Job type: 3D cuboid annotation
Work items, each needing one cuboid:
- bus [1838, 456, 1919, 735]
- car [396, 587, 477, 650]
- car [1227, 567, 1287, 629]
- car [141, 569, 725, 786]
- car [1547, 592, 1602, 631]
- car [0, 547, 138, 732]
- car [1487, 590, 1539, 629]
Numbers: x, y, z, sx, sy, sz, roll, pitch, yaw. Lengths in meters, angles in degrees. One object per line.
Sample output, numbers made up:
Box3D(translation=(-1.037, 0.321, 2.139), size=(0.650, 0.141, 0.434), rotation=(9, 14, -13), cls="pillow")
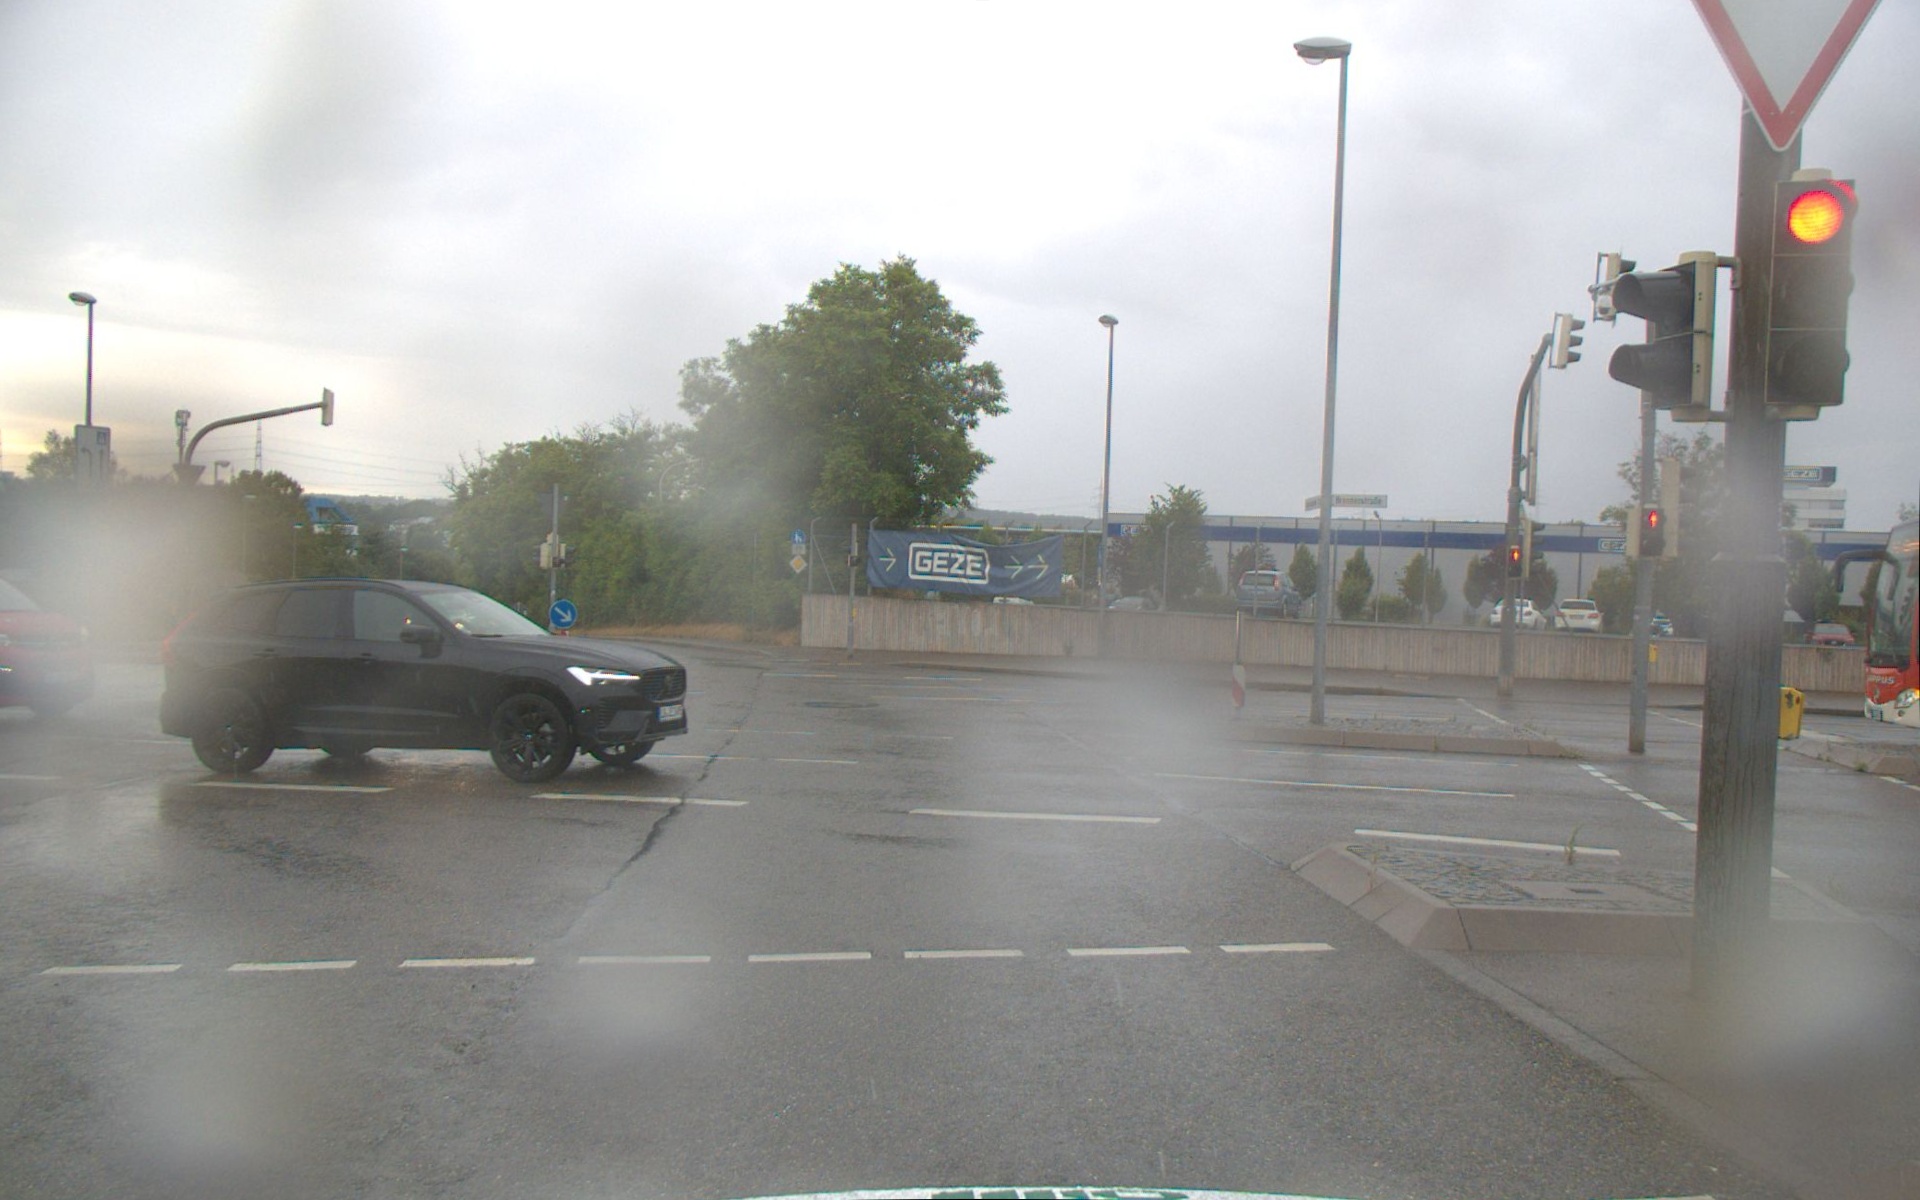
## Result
Box3D(translation=(17.644, 0.213, 19.880), size=(12.019, 3.379, 3.076), rotation=(3, 1, 17), cls="bus")
Box3D(translation=(-14.904, 0.489, 47.252), size=(1.961, 1.646, 3.984), rotation=(1, 1, -15), cls="car")
Box3D(translation=(10.393, -0.060, 57.838), size=(1.951, 2.049, 4.003), rotation=(1, 0, 11), cls="car")
Box3D(translation=(-4.573, 0.594, 14.581), size=(4.519, 1.708, 2.036), rotation=(0, 0, 15), cls="car")
Box3D(translation=(25.256, 0.460, 68.053), size=(1.952, 1.504, 4.001), rotation=(2, 1, 19), cls="car")
Box3D(translation=(-12.622, 0.395, 19.871), size=(4.670, 2.049, 2.002), rotation=(1, 0, 13), cls="car")
Box3D(translation=(22.960, 0.391, 68.642), size=(1.952, 1.504, 4.001), rotation=(2, 1, 19), cls="car")
